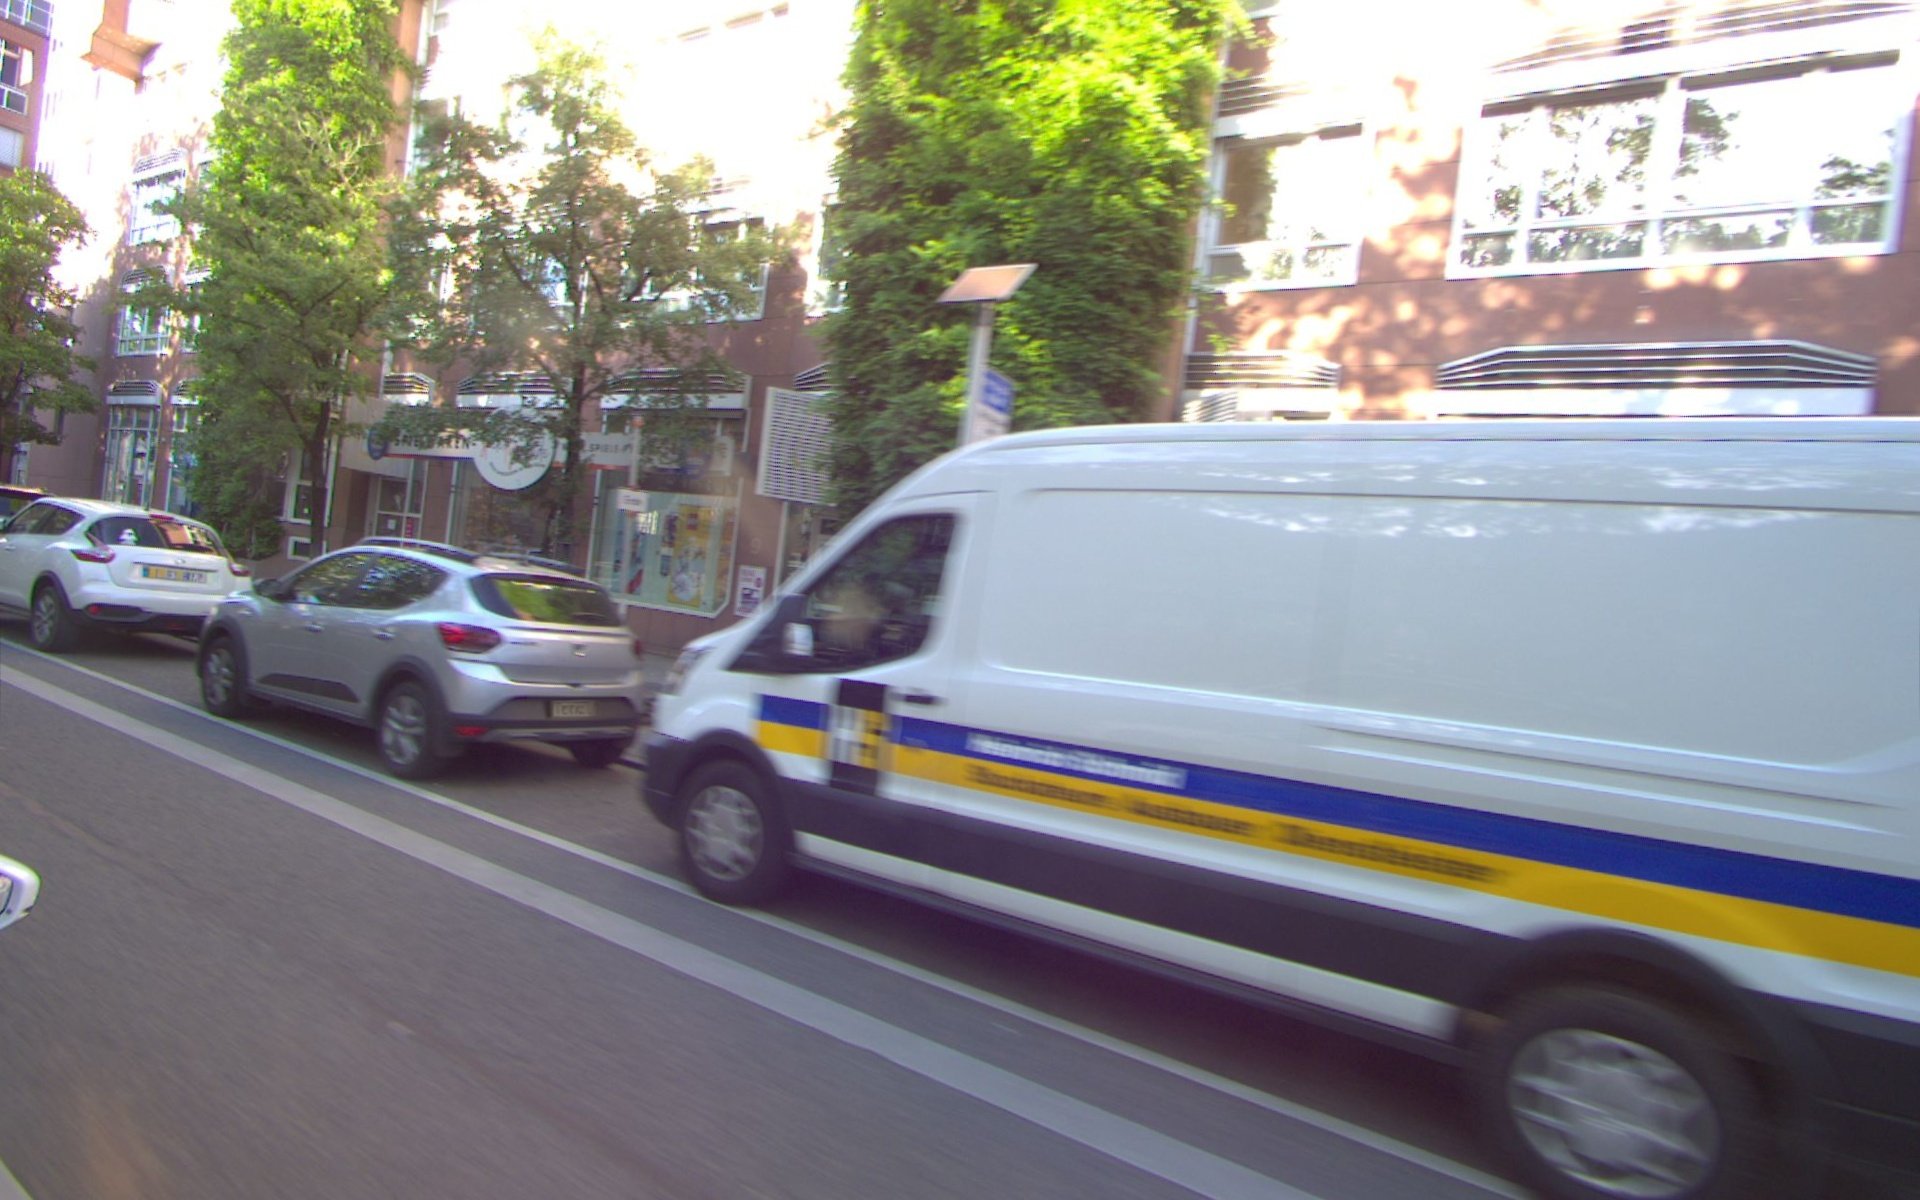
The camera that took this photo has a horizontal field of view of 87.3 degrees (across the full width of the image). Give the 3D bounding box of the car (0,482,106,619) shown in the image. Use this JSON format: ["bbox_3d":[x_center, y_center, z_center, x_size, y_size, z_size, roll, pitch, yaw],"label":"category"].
[{"bbox_3d":[-14.018,-0.873,14.056,4.366,1.691,1.790,7,0,31],"label":"car"}]

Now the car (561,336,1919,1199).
[{"bbox_3d":[0.993,0.446,4.755,5.807,2.596,2.117,7,0,32],"label":"car"}]

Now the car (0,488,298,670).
[{"bbox_3d":[-9.537,-0.291,11.355,3.933,1.598,1.831,7,0,31],"label":"car"}]

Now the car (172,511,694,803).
[{"bbox_3d":[-4.287,0.336,8.061,3.933,1.598,1.831,7,0,31],"label":"car"}]
